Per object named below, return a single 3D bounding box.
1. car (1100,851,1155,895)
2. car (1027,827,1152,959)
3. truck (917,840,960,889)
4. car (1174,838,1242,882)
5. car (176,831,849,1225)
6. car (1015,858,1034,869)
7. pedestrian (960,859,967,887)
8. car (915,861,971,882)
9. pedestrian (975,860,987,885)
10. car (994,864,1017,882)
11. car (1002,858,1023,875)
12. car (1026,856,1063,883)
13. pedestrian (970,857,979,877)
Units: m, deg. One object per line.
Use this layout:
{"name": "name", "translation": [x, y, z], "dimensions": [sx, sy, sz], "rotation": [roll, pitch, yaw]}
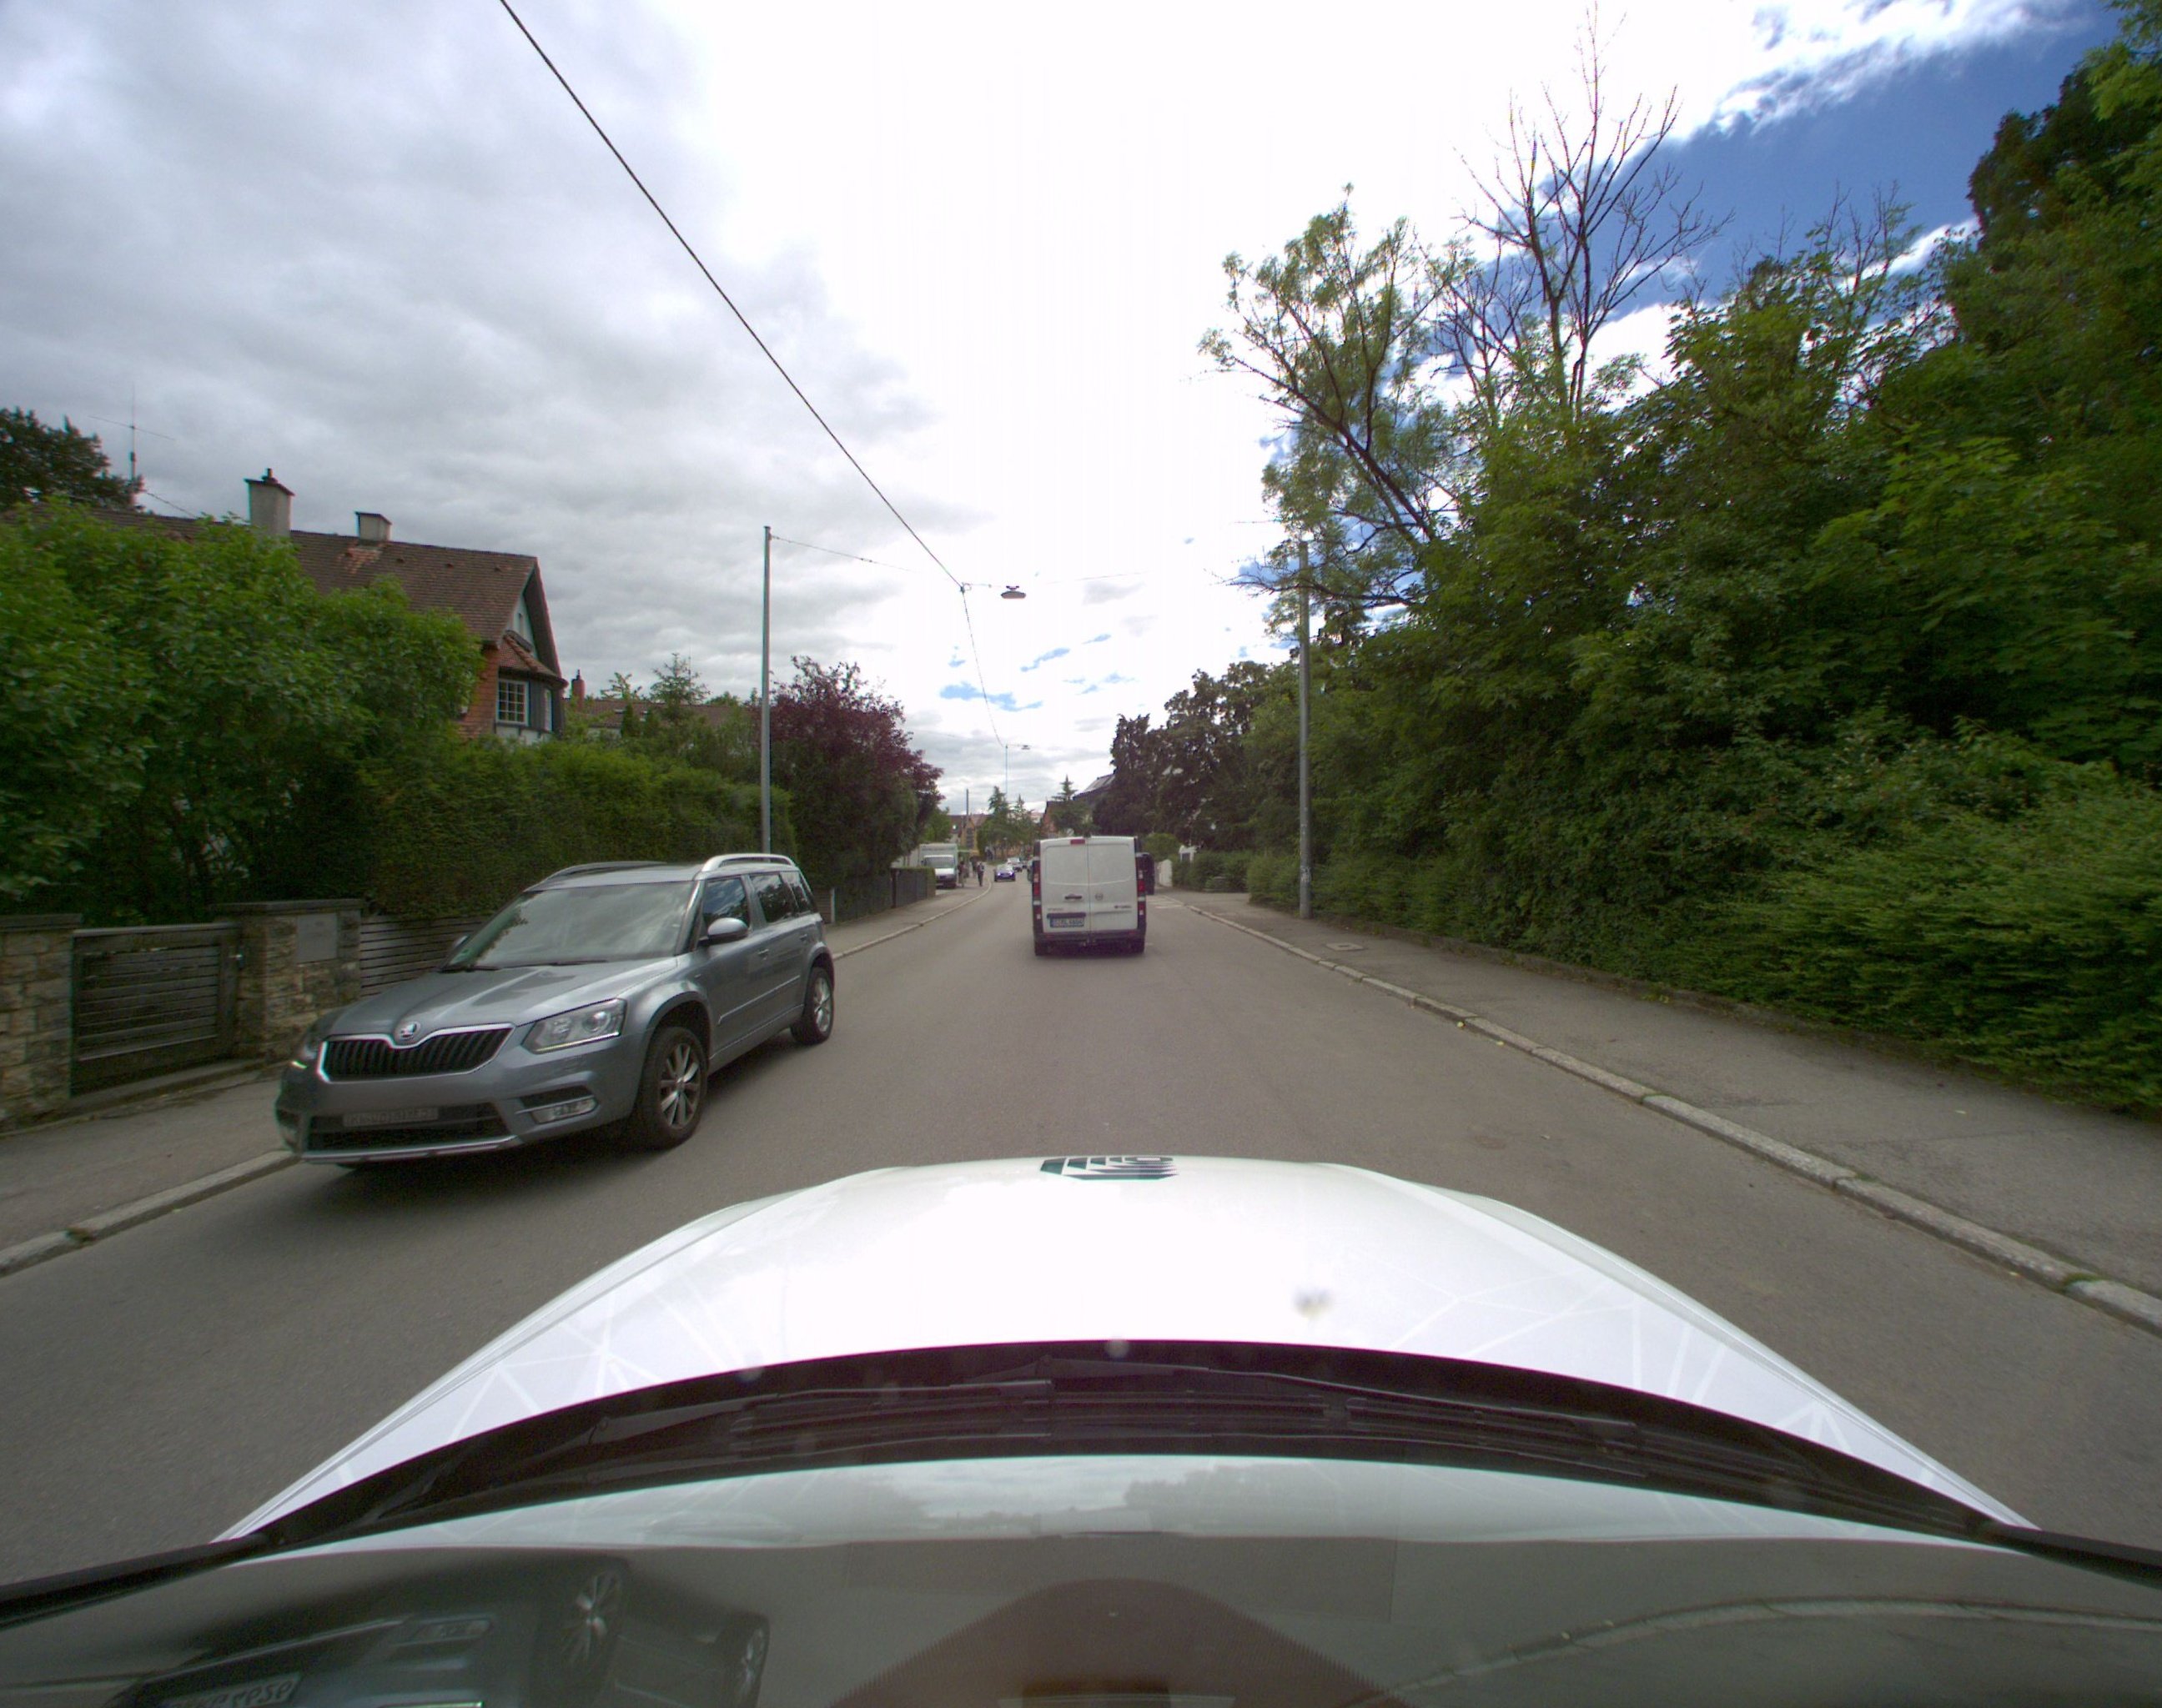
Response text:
{"name": "car", "translation": [2.066, 0.856, 37.572], "dimensions": [1.905, 1.848, 5.150], "rotation": [0, -1, -4]}
{"name": "car", "translation": [0.022, 0.635, 14.912], "dimensions": [1.911, 2.003, 4.432], "rotation": [-2, -1, -3]}
{"name": "truck", "translation": [-8.833, 0.668, 50.862], "dimensions": [2.472, 2.840, 6.686], "rotation": [-1, -1, -9]}
{"name": "car", "translation": [8.189, 0.421, 53.167], "dimensions": [2.502, 2.682, 5.158], "rotation": [1, -1, -16]}
{"name": "car", "translation": [-3.178, 0.814, 5.785], "dimensions": [1.835, 1.655, 4.136], "rotation": [-4, -1, -1]}
{"name": "car", "translation": [-7.599, 1.265, 109.228], "dimensions": [1.745, 1.495, 3.636], "rotation": [1, -1, -15]}
{"name": "pedestrian", "translation": [-7.409, 1.198, 51.407], "dimensions": [0.401, 1.695, 0.595], "rotation": [1, -1, -9]}
{"name": "car", "translation": [-11.390, 1.439, 67.122], "dimensions": [4.324, 1.696, 1.786], "rotation": [1, -1, -19]}
{"name": "pedestrian", "translation": [-6.828, 1.263, 55.650], "dimensions": [0.721, 1.687, 1.108], "rotation": [1, -1, -4]}
{"name": "car", "translation": [-6.391, 1.592, 69.263], "dimensions": [1.690, 1.432, 3.922], "rotation": [2, -1, -3]}
{"name": "car", "translation": [-7.985, 1.434, 94.731], "dimensions": [1.995, 1.782, 3.983], "rotation": [-2, 0, -12]}
{"name": "car", "translation": [-2.730, 1.150, 59.895], "dimensions": [1.995, 1.848, 3.983], "rotation": [-2, 0, -12]}
{"name": "pedestrian", "translation": [-10.212, 1.242, 77.965], "dimensions": [0.731, 1.946, 1.216], "rotation": [1, -1, -4]}
